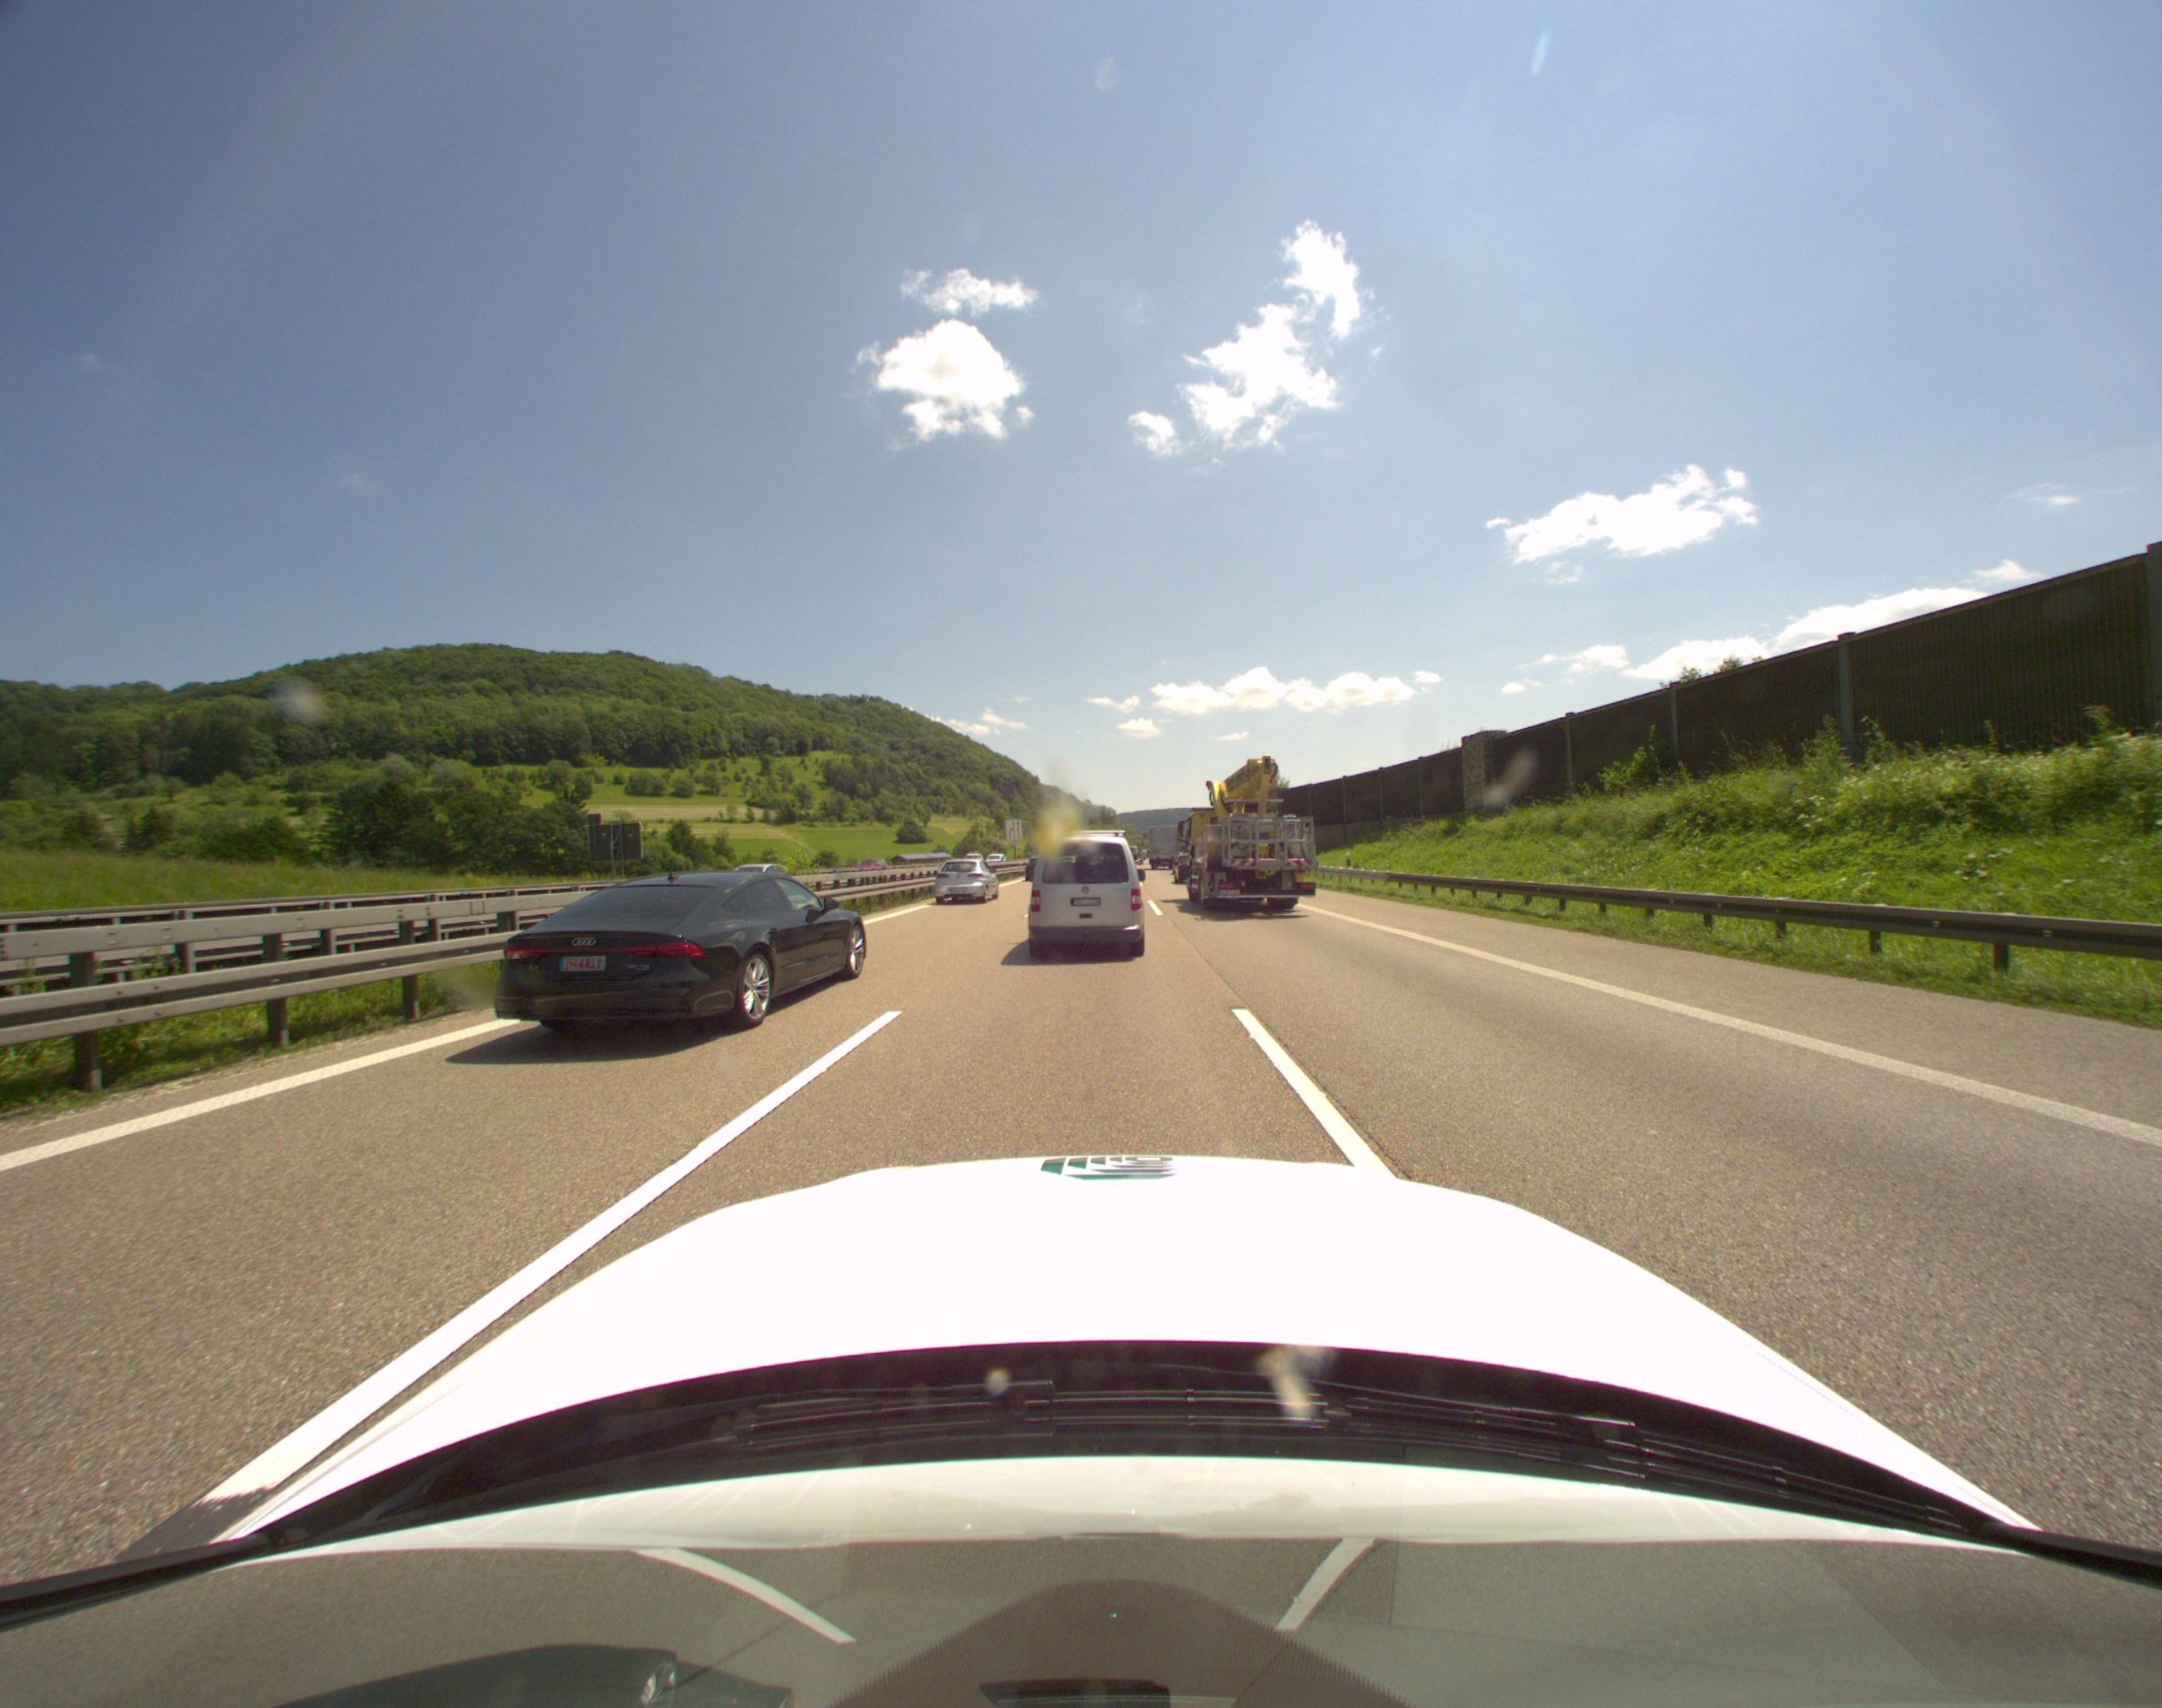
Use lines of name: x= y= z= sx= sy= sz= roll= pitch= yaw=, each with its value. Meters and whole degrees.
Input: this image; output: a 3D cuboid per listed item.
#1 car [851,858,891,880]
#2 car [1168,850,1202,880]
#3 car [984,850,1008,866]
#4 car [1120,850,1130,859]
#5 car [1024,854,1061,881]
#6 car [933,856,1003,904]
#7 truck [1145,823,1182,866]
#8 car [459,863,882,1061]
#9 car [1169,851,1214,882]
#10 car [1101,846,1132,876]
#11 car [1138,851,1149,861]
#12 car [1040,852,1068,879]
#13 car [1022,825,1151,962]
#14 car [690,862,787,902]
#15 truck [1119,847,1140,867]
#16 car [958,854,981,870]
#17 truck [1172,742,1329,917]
car: x=-16.674 y=1.187 z=64.890 sx=1.818 sy=1.644 sz=4.547 roll=-1 pitch=0 yaw=2
car: x=7.207 y=0.734 z=56.718 sx=1.986 sy=2.013 sz=4.002 roll=-1 pitch=0 yaw=2
car: x=-10.035 y=0.454 z=96.534 sx=1.986 sy=1.839 sz=5.229 roll=-1 pitch=0 yaw=2
car: x=8.871 y=0.194 z=164.561 sx=1.986 sy=1.805 sz=4.002 roll=0 pitch=-1 yaw=2
car: x=-2.279 y=0.773 z=48.654 sx=1.918 sy=1.499 sz=4.001 roll=-1 pitch=0 yaw=1
car: x=-3.710 y=0.807 z=27.293 sx=1.689 sy=1.445 sz=3.863 roll=-1 pitch=0 yaw=1
truck: x=7.605 y=-0.790 z=76.279 sx=2.929 sy=3.823 sz=8.241 roll=0 pitch=-1 yaw=2
car: x=-3.687 y=0.840 z=8.590 sx=1.794 sy=1.390 sz=4.971 roll=-1 pitch=0 yaw=2
car: x=5.466 y=0.604 z=40.671 sx=1.780 sy=1.458 sz=3.771 roll=-1 pitch=0 yaw=1
car: x=2.446 y=0.493 z=56.765 sx=1.986 sy=1.975 sz=4.001 roll=-1 pitch=0 yaw=1
car: x=12.109 y=0.407 z=157.052 sx=1.986 sy=1.805 sz=4.002 roll=0 pitch=-1 yaw=2
car: x=-2.098 y=0.870 z=64.242 sx=1.986 sy=2.013 sz=4.001 roll=-2 pitch=0 yaw=1
car: x=0.117 y=0.552 z=13.392 sx=1.750 sy=1.868 sz=4.001 roll=-1 pitch=0 yaw=1
car: x=-14.167 y=1.116 z=33.977 sx=1.986 sy=1.455 sz=4.529 roll=-1 pitch=0 yaw=2
truck: x=6.237 y=0.371 z=103.962 sx=2.377 sy=2.541 sz=5.950 roll=-1 pitch=0 yaw=7
car: x=-14.248 y=0.960 z=104.127 sx=2.052 sy=1.941 sz=4.663 roll=-1 pitch=0 yaw=2
truck: x=4.372 y=-0.560 z=23.002 sx=2.694 sy=3.942 sz=8.723 roll=-1 pitch=0 yaw=1
